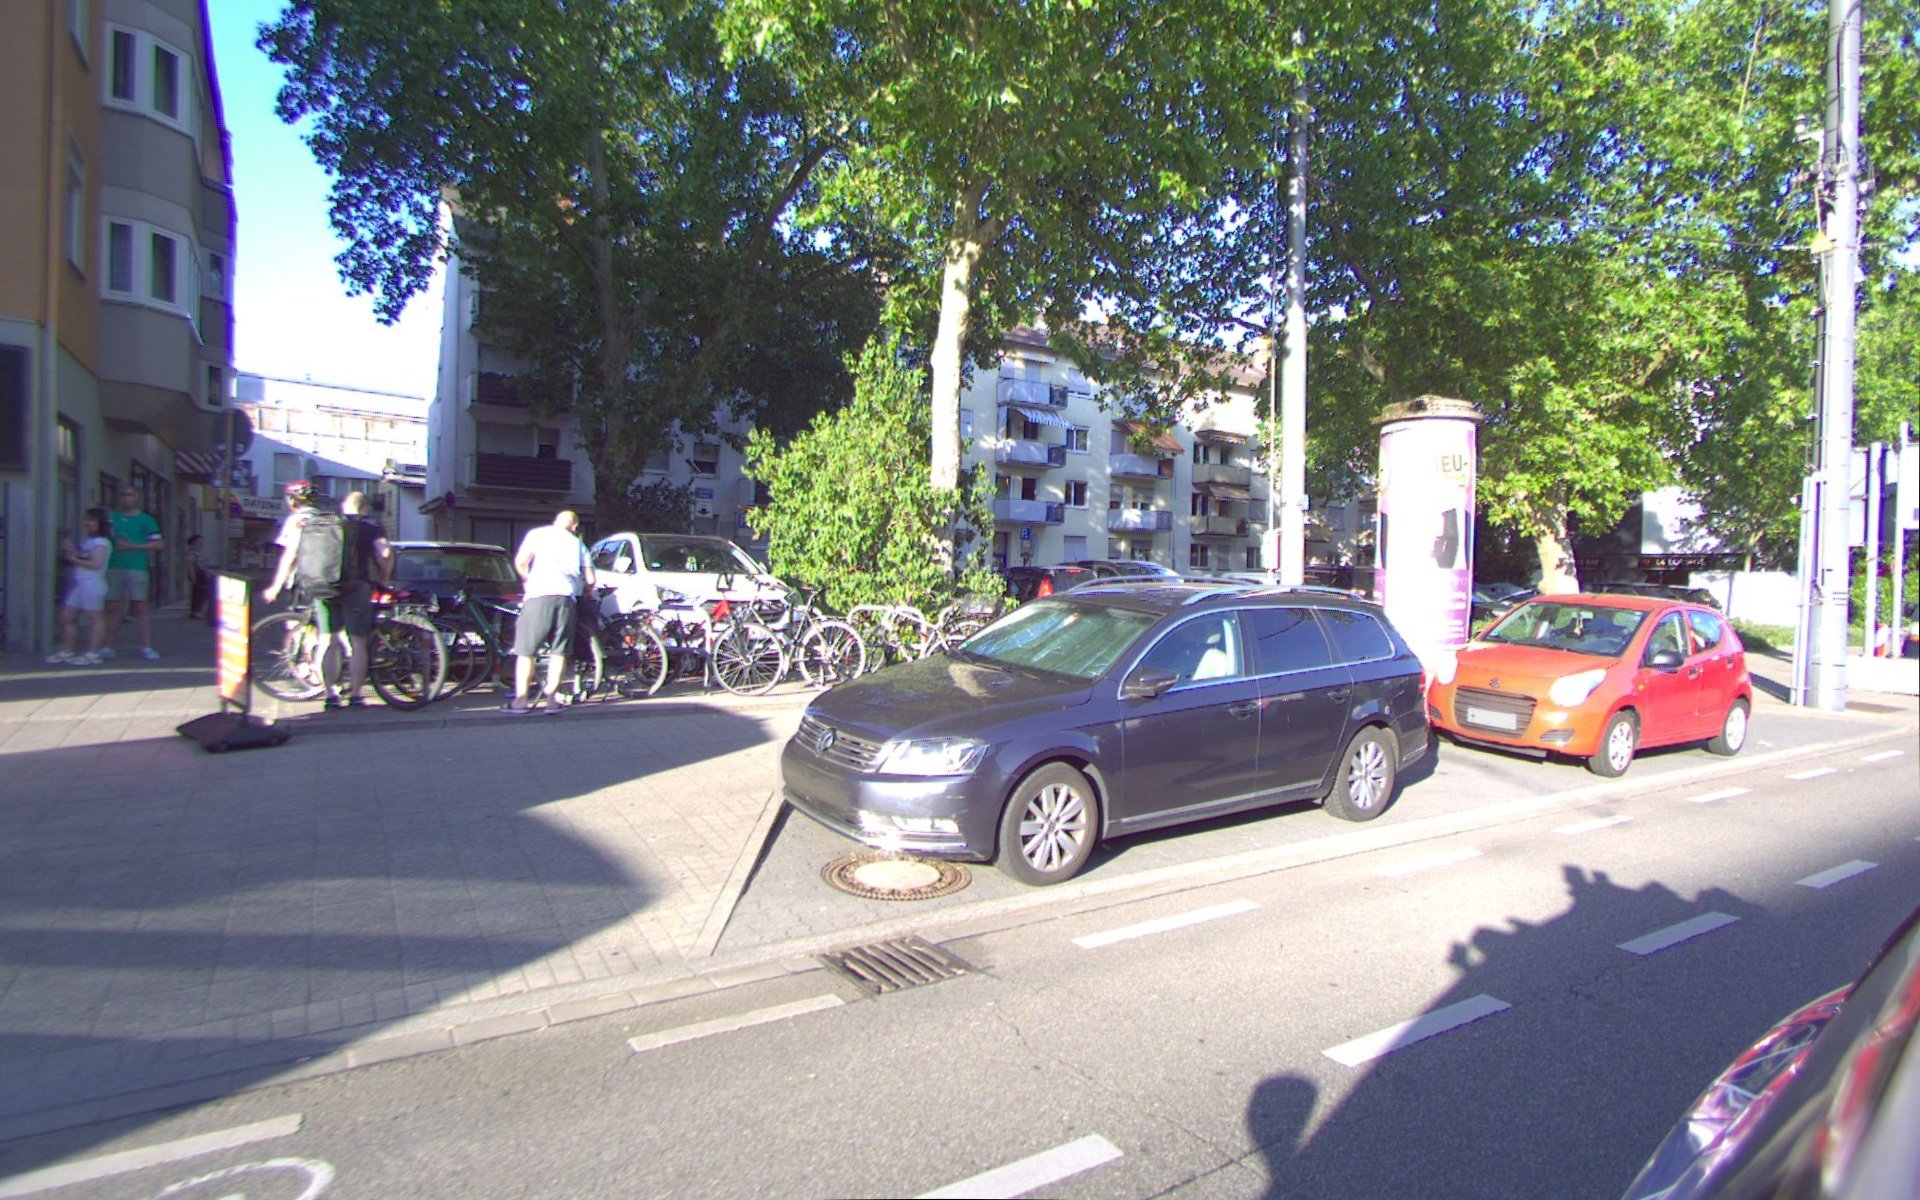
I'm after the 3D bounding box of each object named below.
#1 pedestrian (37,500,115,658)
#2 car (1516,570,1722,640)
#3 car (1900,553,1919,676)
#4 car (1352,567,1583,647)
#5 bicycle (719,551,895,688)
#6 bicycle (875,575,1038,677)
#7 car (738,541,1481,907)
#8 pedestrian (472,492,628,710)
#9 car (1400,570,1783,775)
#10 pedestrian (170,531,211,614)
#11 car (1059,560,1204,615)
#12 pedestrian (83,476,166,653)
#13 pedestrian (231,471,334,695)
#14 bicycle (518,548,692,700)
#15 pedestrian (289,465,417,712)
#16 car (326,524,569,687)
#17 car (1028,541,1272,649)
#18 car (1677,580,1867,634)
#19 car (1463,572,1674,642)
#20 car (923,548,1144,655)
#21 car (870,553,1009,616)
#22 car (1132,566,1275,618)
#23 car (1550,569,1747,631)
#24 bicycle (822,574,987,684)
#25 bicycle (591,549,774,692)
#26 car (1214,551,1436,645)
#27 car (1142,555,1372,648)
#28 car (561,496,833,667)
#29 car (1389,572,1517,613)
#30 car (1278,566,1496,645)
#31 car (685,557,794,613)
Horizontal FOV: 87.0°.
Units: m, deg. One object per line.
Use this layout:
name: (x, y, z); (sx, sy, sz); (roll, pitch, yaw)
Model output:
pedestrian: (-9.192, -0.228, 10.527); (0.633, 1.587, 0.417); (2, 1, 28)
car: (17.047, 0.082, 26.381); (1.767, 1.618, 4.130); (0, 2, -31)
car: (18.604, 0.274, 17.822); (4.473, 2.104, 1.892); (0, 1, -32)
car: (10.814, 0.083, 21.848); (1.767, 1.513, 4.130); (0, 2, -31)
bicycle: (-1.474, 0.165, 9.854); (1.558, 1.242, 0.645); (2, 1, 11)
bicycle: (-0.040, 0.256, 11.136); (1.659, 1.026, 0.647); (2, 1, 20)
car: (1.111, 0.510, 6.351); (4.561, 1.549, 1.704); (0, 4, -33)
pedestrian: (-3.343, -0.009, 8.254); (0.972, 1.656, 0.661); (1, 4, -40)
car: (5.942, 0.551, 9.446); (3.555, 1.512, 1.577); (0, 4, -32)
pedestrian: (-14.883, -0.531, 19.576); (0.585, 1.560, 0.745); (0, 2, -35)
car: (5.243, -0.434, 31.471); (1.962, 1.553, 4.297); (0, 2, -35)
pedestrian: (-9.233, -0.393, 11.185); (0.567, 1.905, 0.471); (2, 1, 17)
pedestrian: (-5.731, -0.154, 8.555); (0.639, 1.803, 0.529); (1, 4, -40)
bicycle: (-3.115, 0.182, 8.864); (1.500, 1.242, 0.401); (2, 1, 18)
pedestrian: (-4.673, -0.104, 7.797); (0.753, 1.772, 0.810); (2, 4, -32)
car: (-5.852, -0.063, 11.292); (1.962, 1.449, 4.030); (-3, 4, -33)
car: (3.104, -0.037, 17.322); (1.820, 1.621, 4.035); (1, -1, -33)
car: (25.470, 0.172, 31.878); (1.962, 1.514, 4.296); (0, 2, -36)
car: (14.984, 0.117, 25.159); (1.767, 1.513, 4.130); (0, 2, -31)
car: (1.057, 0.049, 16.109); (1.739, 1.502, 3.509); (1, -1, -33)
car: (-0.635, -0.462, 27.471); (1.961, 1.553, 4.067); (0, 2, -32)
car: (7.789, -0.307, 32.759); (1.961, 1.553, 4.298); (0, 2, -33)
car: (18.805, 0.015, 27.829); (1.767, 1.570, 4.128); (0, -1, -31)
bicycle: (-0.570, 0.270, 10.409); (1.563, 1.026, 0.647); (2, 1, 20)
bicycle: (-2.565, 0.174, 9.369); (1.563, 1.242, 0.647); (0, 0, 20)
car: (7.069, -0.028, 19.974); (1.819, 1.652, 3.856); (0, 0, -31)
car: (5.324, 0.058, 18.621); (1.819, 1.514, 3.855); (0, -1, -31)
car: (-3.500, -0.153, 12.733); (1.961, 1.731, 4.634); (0, -1, -33)
car: (20.149, -0.348, 41.542); (1.962, 1.514, 4.296); (0, 2, -36)
car: (8.703, 0.132, 20.931); (1.766, 1.455, 3.855); (2, -1, -31)
car: (-6.683, -0.490, 30.356); (1.961, 1.553, 4.066); (0, 2, -32)
